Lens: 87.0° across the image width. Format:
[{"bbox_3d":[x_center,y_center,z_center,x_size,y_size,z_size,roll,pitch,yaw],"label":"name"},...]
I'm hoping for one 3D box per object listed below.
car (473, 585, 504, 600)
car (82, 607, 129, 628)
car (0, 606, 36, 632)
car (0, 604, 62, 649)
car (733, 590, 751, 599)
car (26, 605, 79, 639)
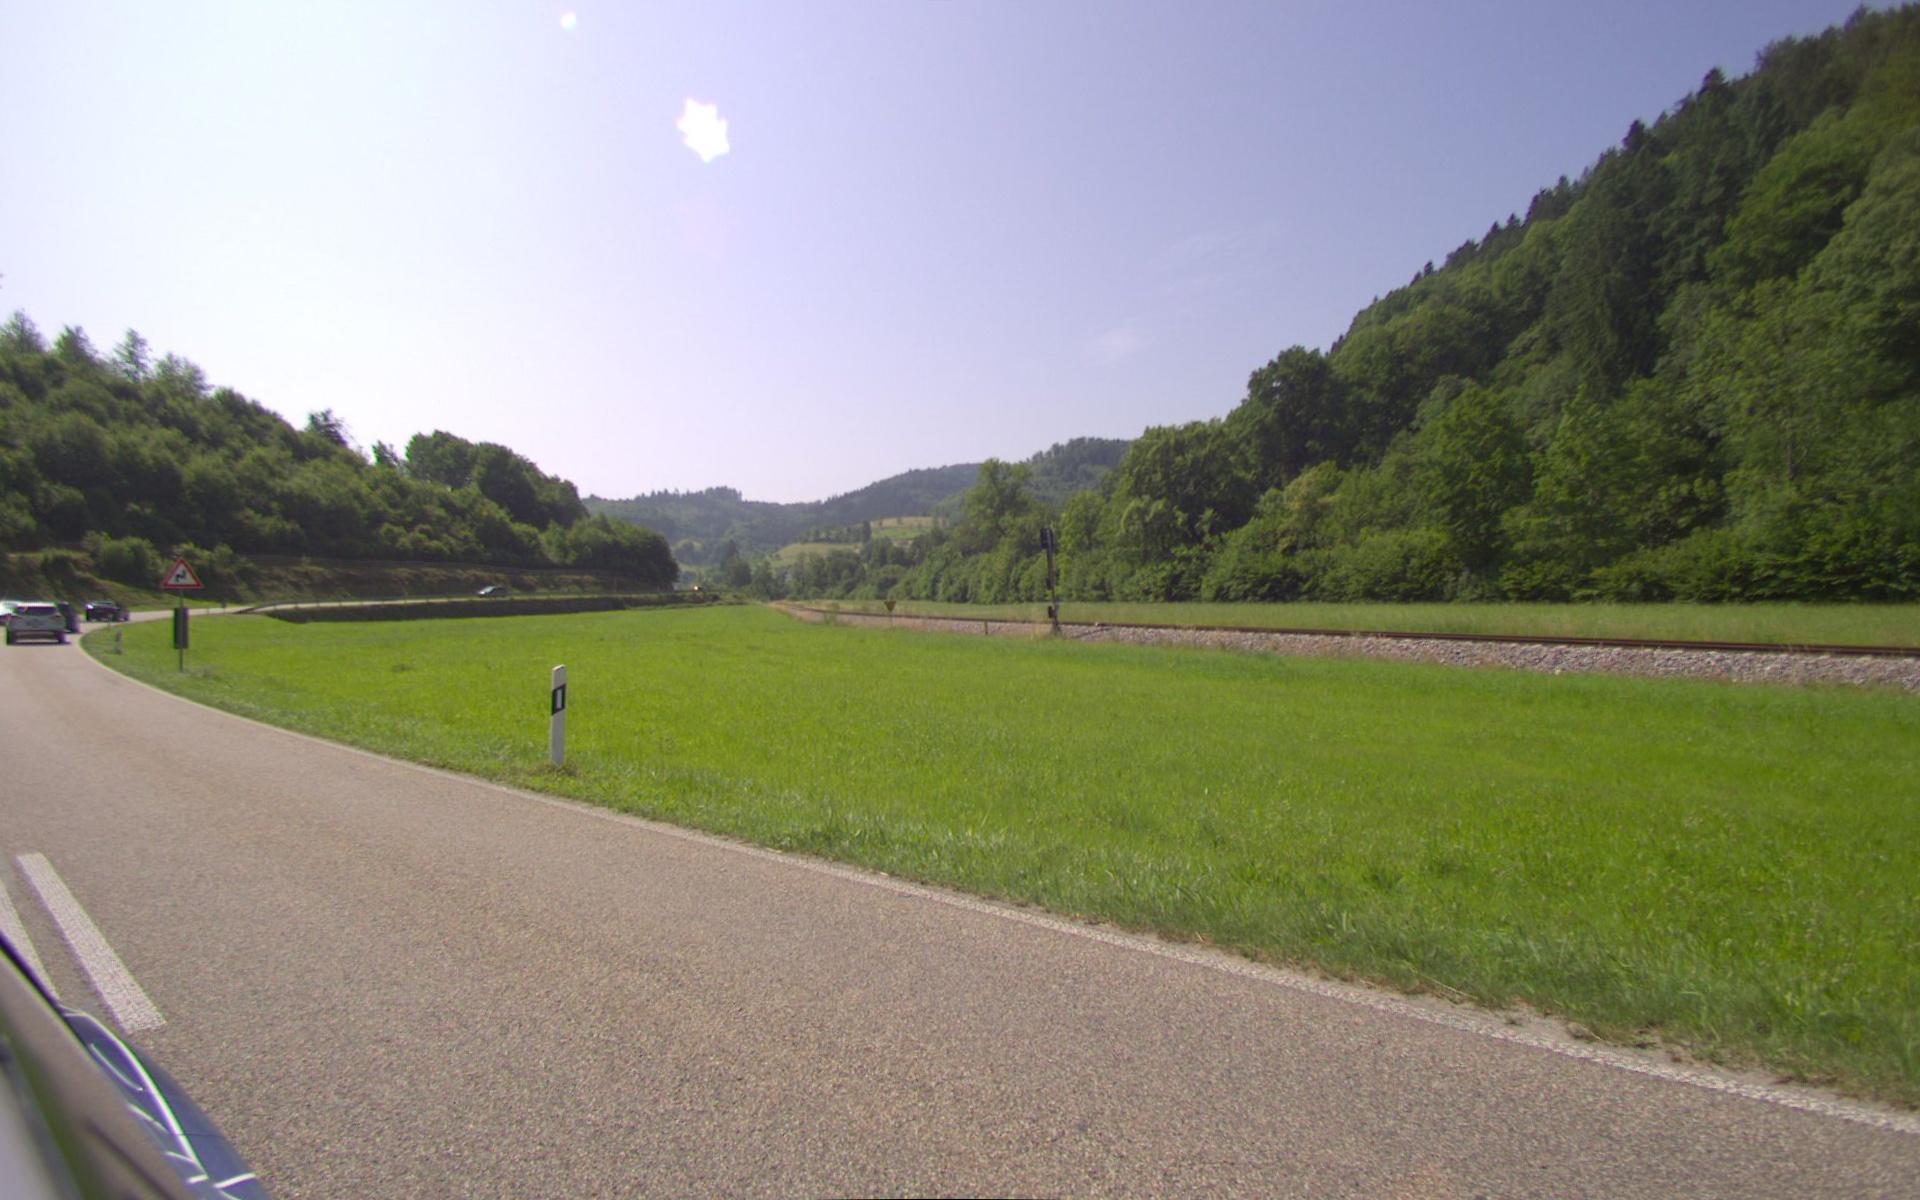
[{"bbox_3d":[-68.459,-1.075,146.982,1.981,2.029,3.981,-1,-1,15],"label":"car"},{"bbox_3d":[-61.309,1.267,72.661,1.890,1.482,4.524,-1,-1,-31],"label":"car"},{"bbox_3d":[-58.376,1.194,61.840,2.112,1.502,4.684,3,-3,-34],"label":"car"},{"bbox_3d":[-37.952,1.060,41.346,1.892,1.727,4.165,0,-1,-42],"label":"car"},{"bbox_3d":[-47.836,-1.216,222.101,1.937,1.753,4.874,0,0,14],"label":"car"},{"bbox_3d":[-47.822,1.113,53.398,1.842,1.636,4.519,1,0,-39],"label":"car"}]
